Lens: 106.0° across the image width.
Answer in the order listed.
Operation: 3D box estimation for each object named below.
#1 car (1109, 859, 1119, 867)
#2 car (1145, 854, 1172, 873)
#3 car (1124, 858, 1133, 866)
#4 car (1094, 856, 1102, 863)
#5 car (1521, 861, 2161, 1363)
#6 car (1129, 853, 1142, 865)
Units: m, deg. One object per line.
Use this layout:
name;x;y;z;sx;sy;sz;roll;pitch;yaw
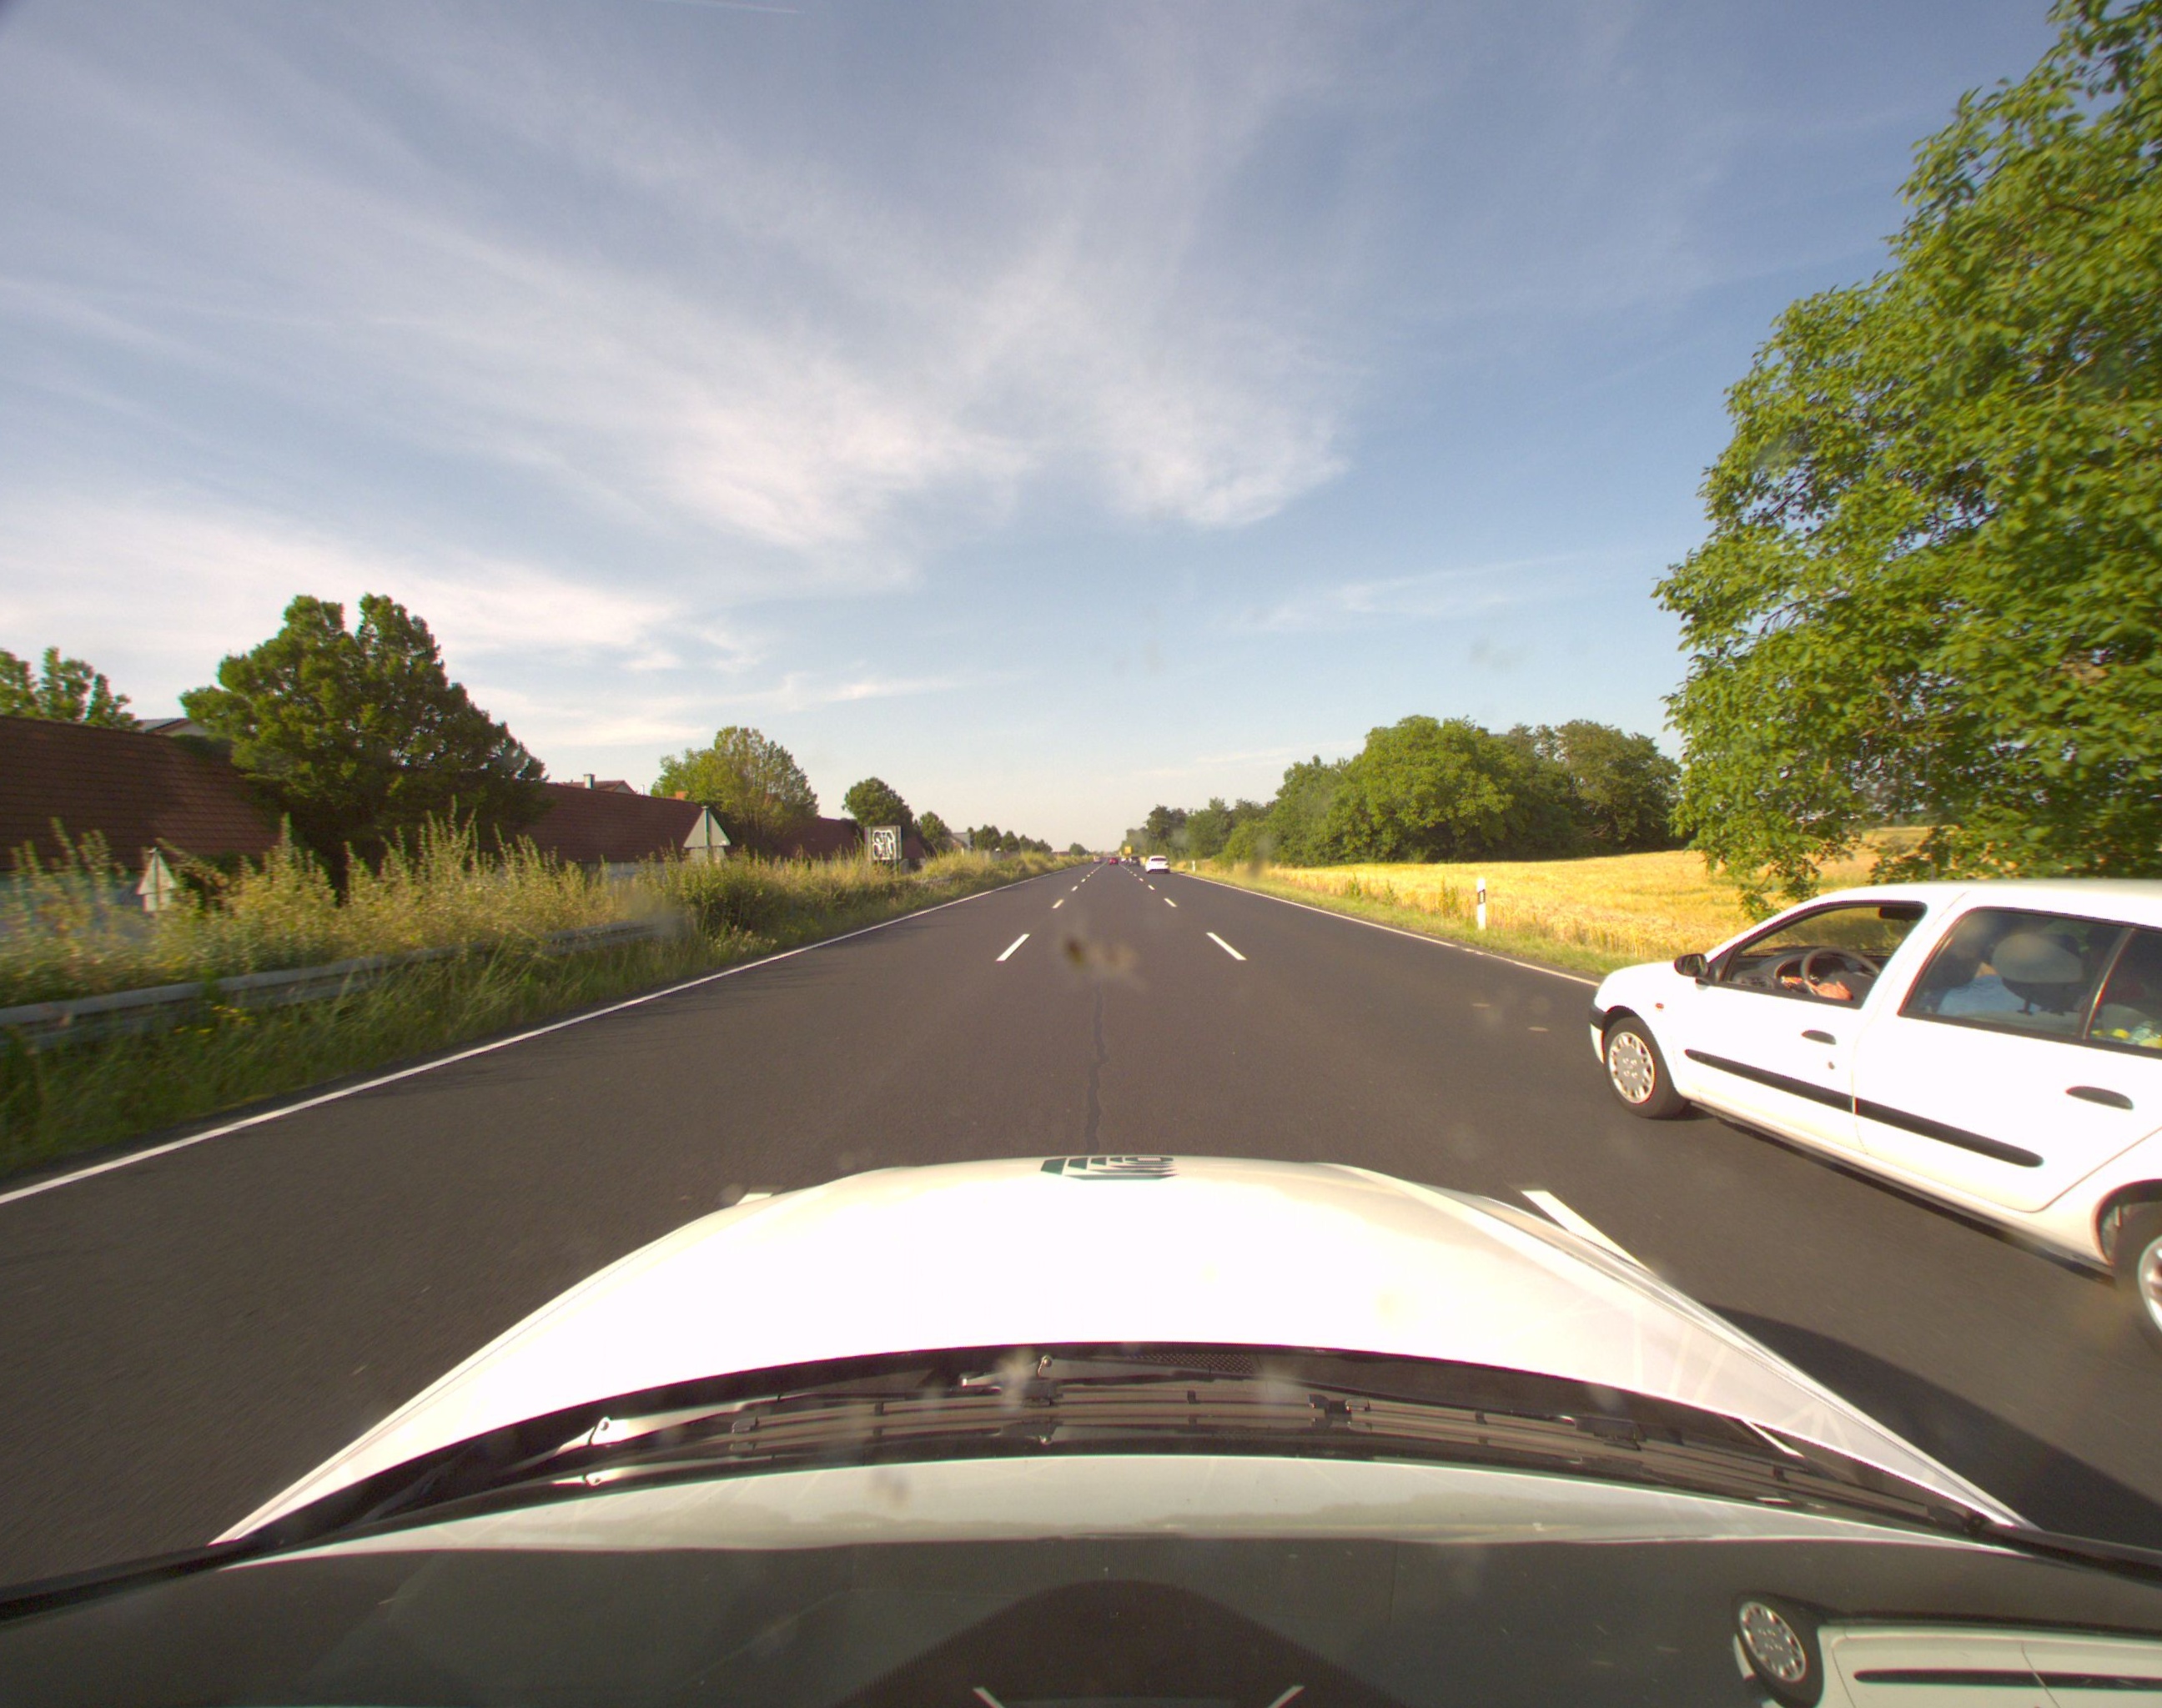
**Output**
car;6.231;1.750;155.716;1.805;1.436;3.859;0;-1;1
car;6.300;0.806;66.345;1.986;1.516;4.001;0;-1;2
car;9.757;1.620;167.313;1.827;1.717;3.864;0;-1;2
car;4.255;1.307;202.957;1.751;1.618;4.004;0;-1;4
car;3.842;0.747;3.736;1.611;1.387;3.952;1;-1;1
car;8.537;0.774;127.557;1.821;1.728;4.001;0;-1;2
